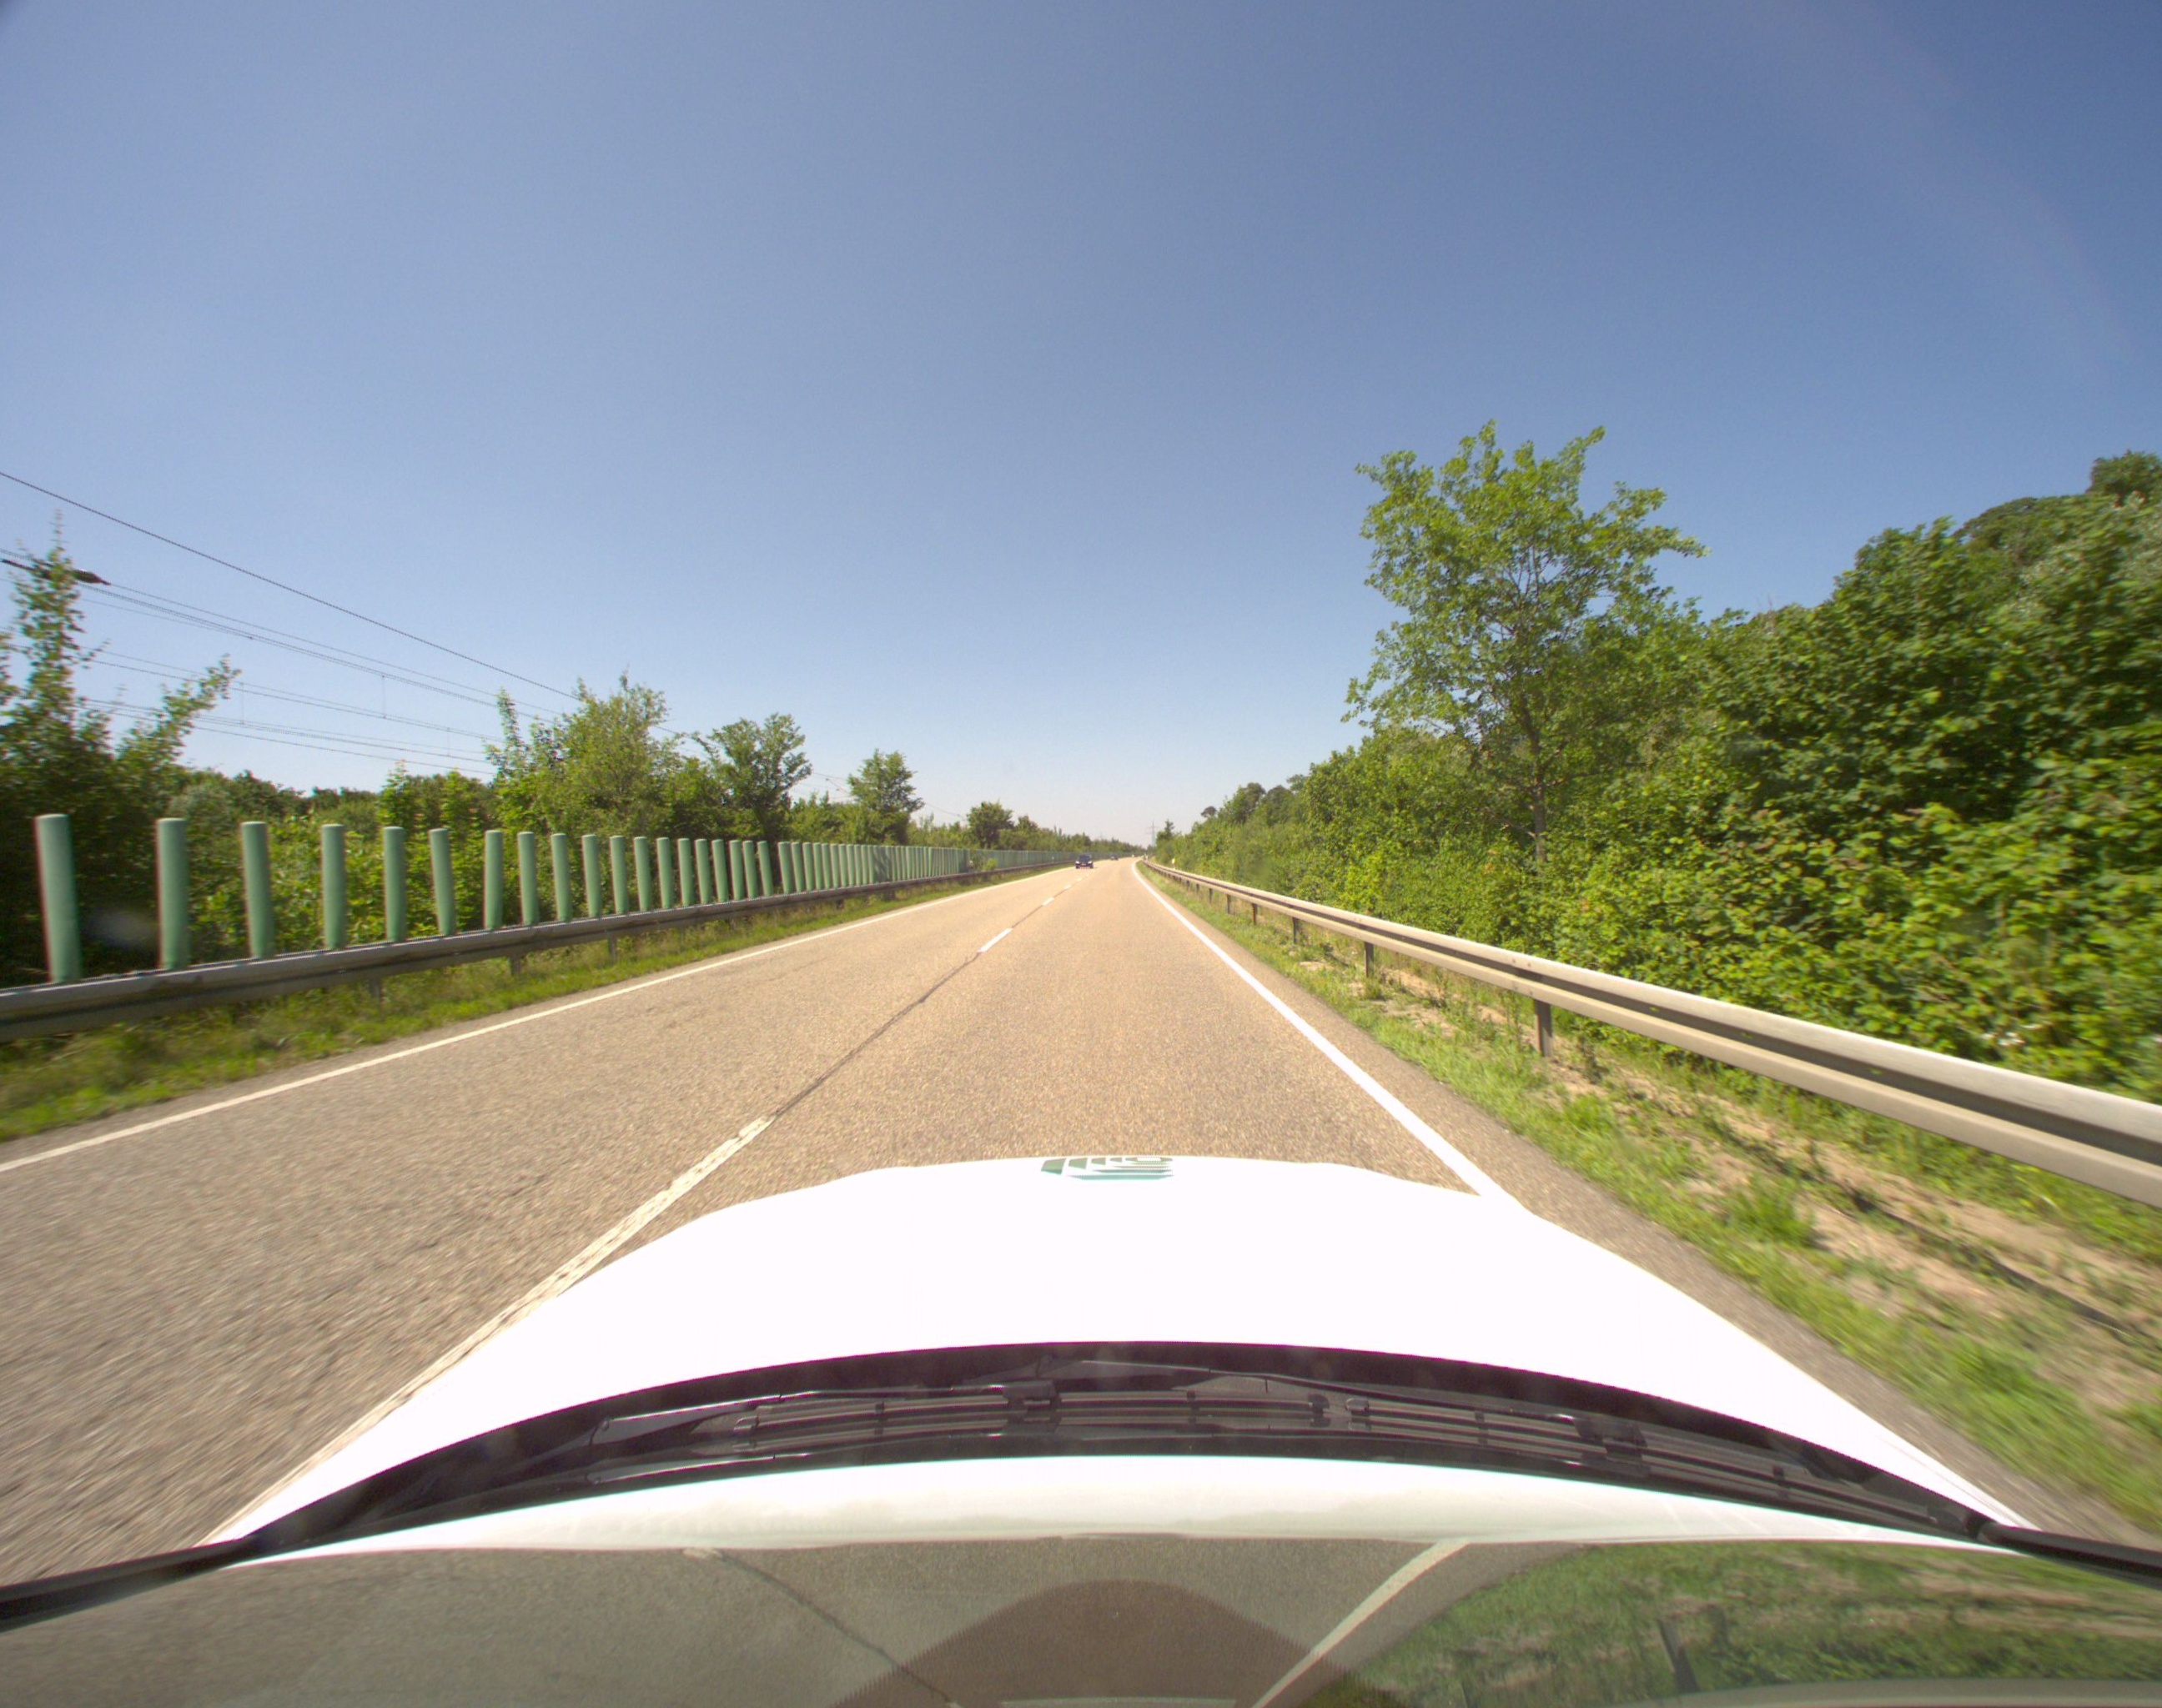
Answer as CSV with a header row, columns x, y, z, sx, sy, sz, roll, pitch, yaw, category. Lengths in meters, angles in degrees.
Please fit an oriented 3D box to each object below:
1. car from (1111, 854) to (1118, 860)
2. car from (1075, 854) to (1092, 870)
x,y,z,sx,sy,sz,roll,pitch,yaw,category
8.027,0.726,195.581,1.642,1.479,3.679,-1,0,2,car
0.302,0.902,90.368,1.757,1.640,4.128,-1,-1,2,car
